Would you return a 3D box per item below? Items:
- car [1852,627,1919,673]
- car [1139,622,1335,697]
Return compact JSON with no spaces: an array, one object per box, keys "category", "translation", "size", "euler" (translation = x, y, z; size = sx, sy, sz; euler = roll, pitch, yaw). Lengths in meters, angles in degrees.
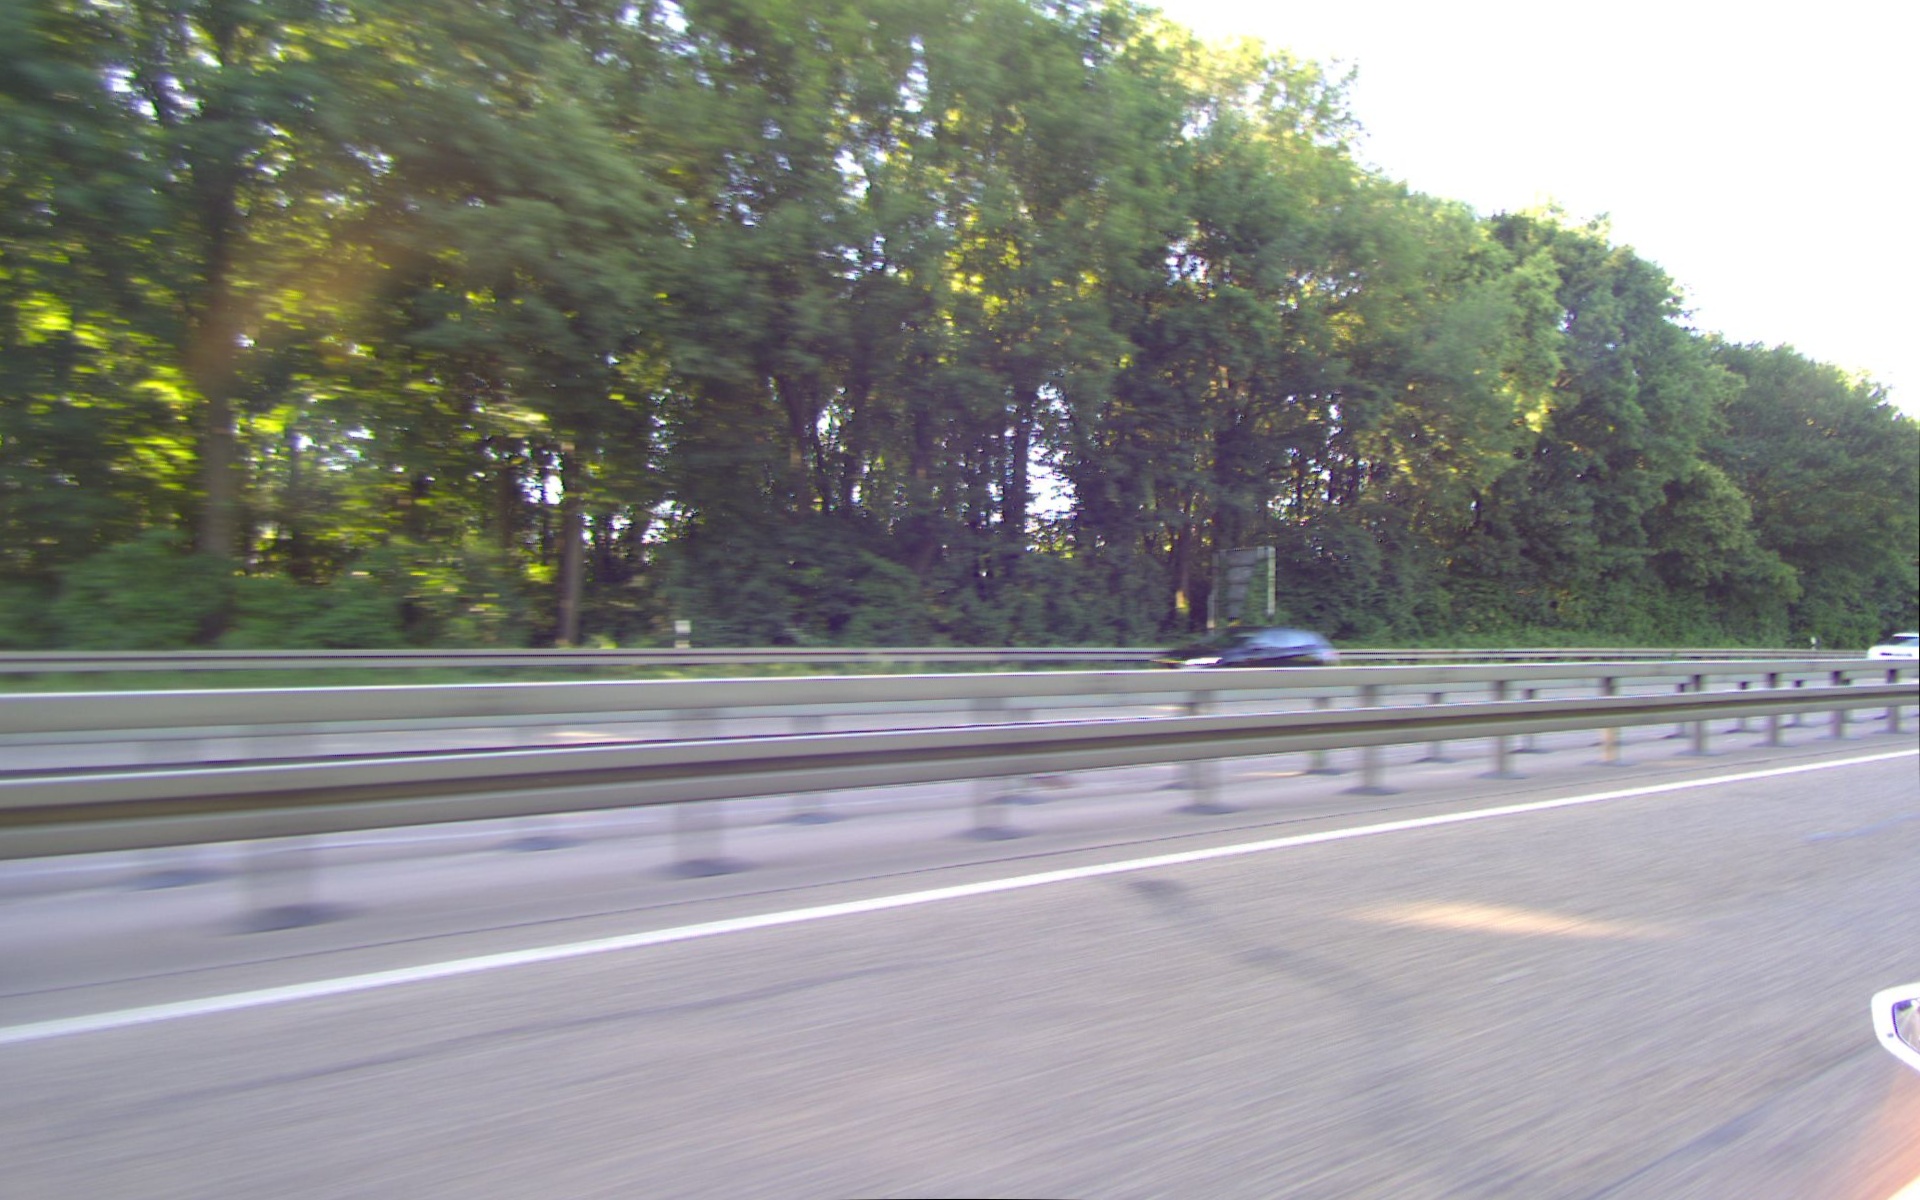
[{"category":"car","translation":[36.441,1.903,38.376],"size":[4.729,1.644,1.986],"euler":[2,-3,-28]},{"category":"car","translation":[6.098,1.289,22.078],"size":[3.954,1.505,1.984],"euler":[2,-3,-31]}]
